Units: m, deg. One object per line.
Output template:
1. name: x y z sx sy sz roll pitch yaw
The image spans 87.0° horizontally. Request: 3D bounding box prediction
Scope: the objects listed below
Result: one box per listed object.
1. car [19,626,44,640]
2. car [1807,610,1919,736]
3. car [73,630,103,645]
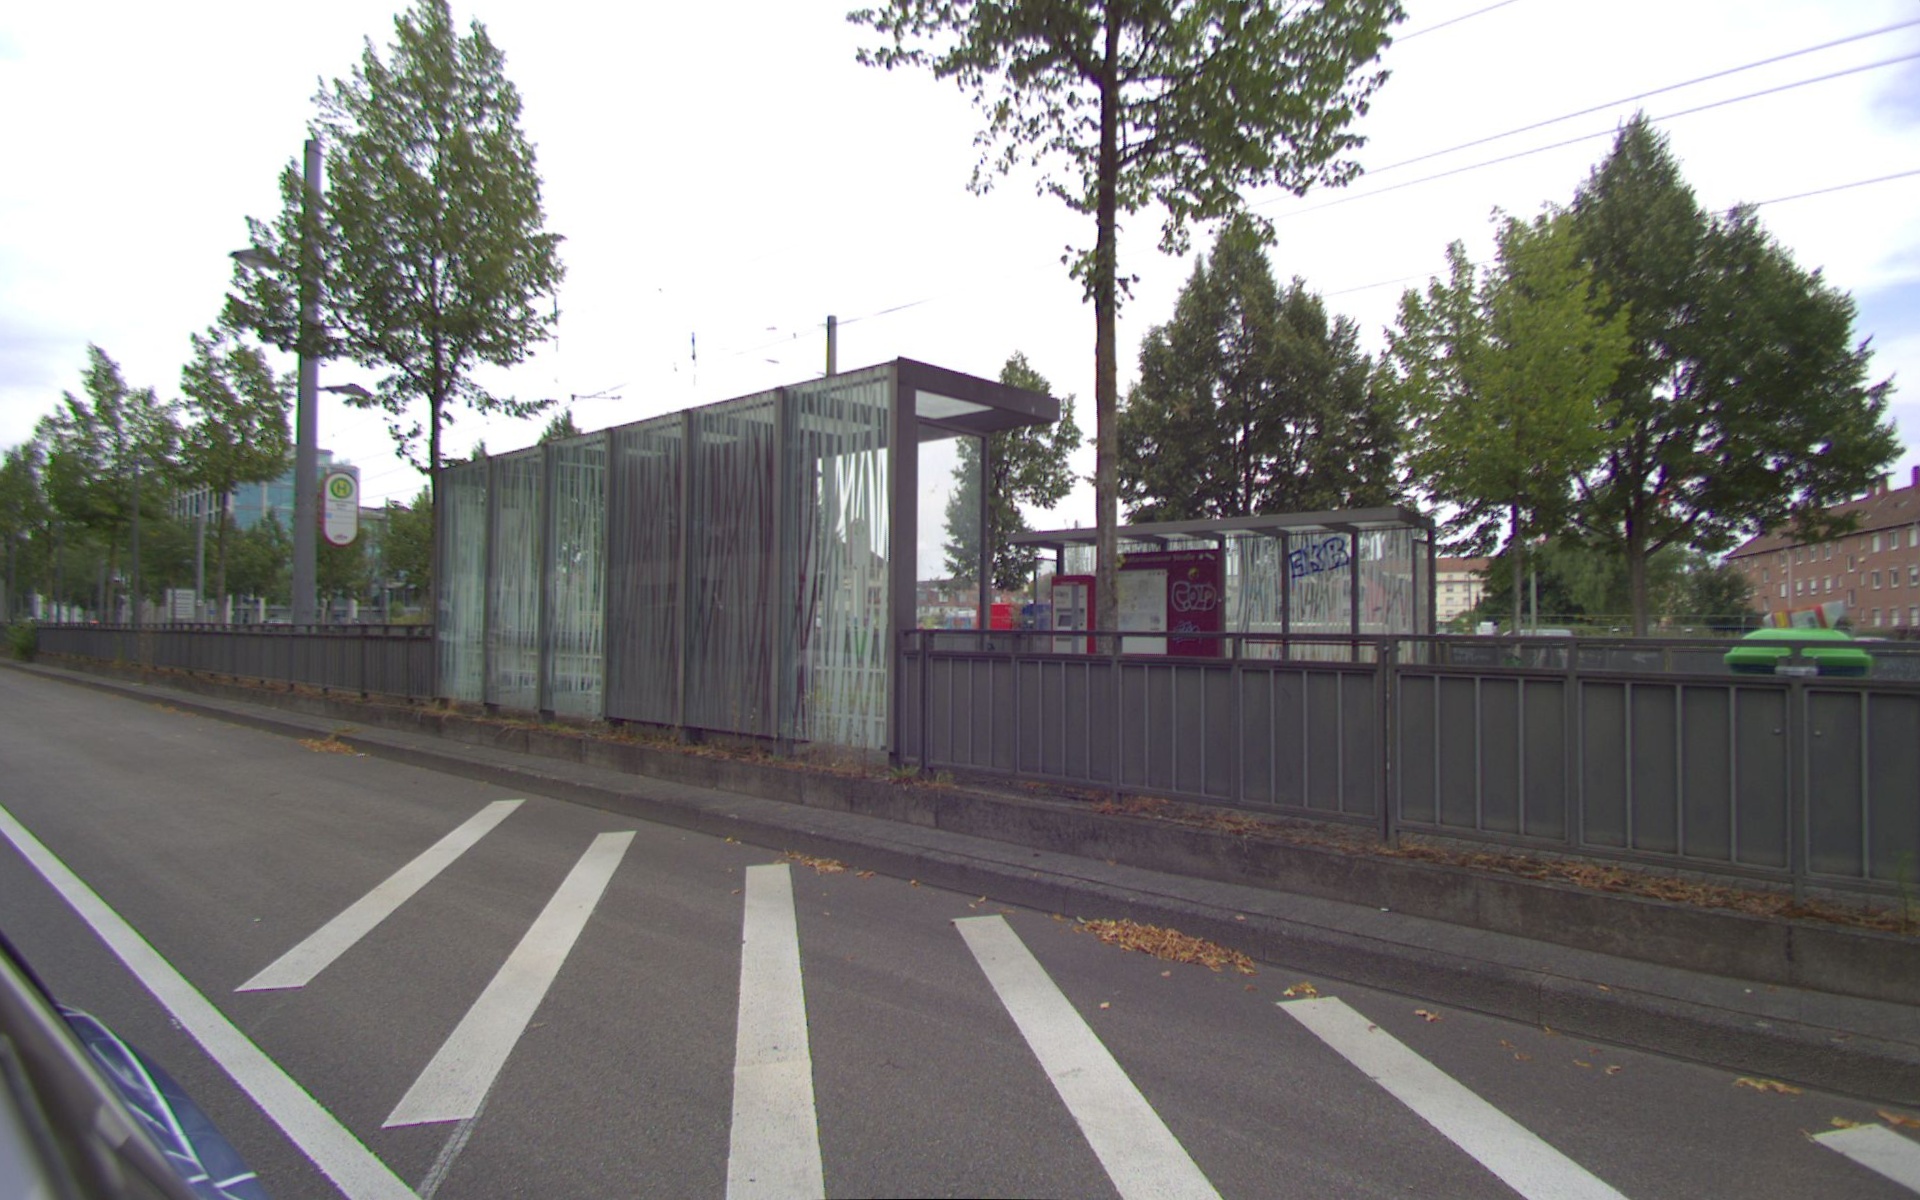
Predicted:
1. car: -131.783 4.654 143.649 5.092 1.959 1.973 -2 -3 40
2. car: 13.950 0.949 13.194 4.383 1.630 1.972 -2 -3 42
3. car: -100.634 4.306 116.771 4.686 1.669 1.809 -2 -2 39
